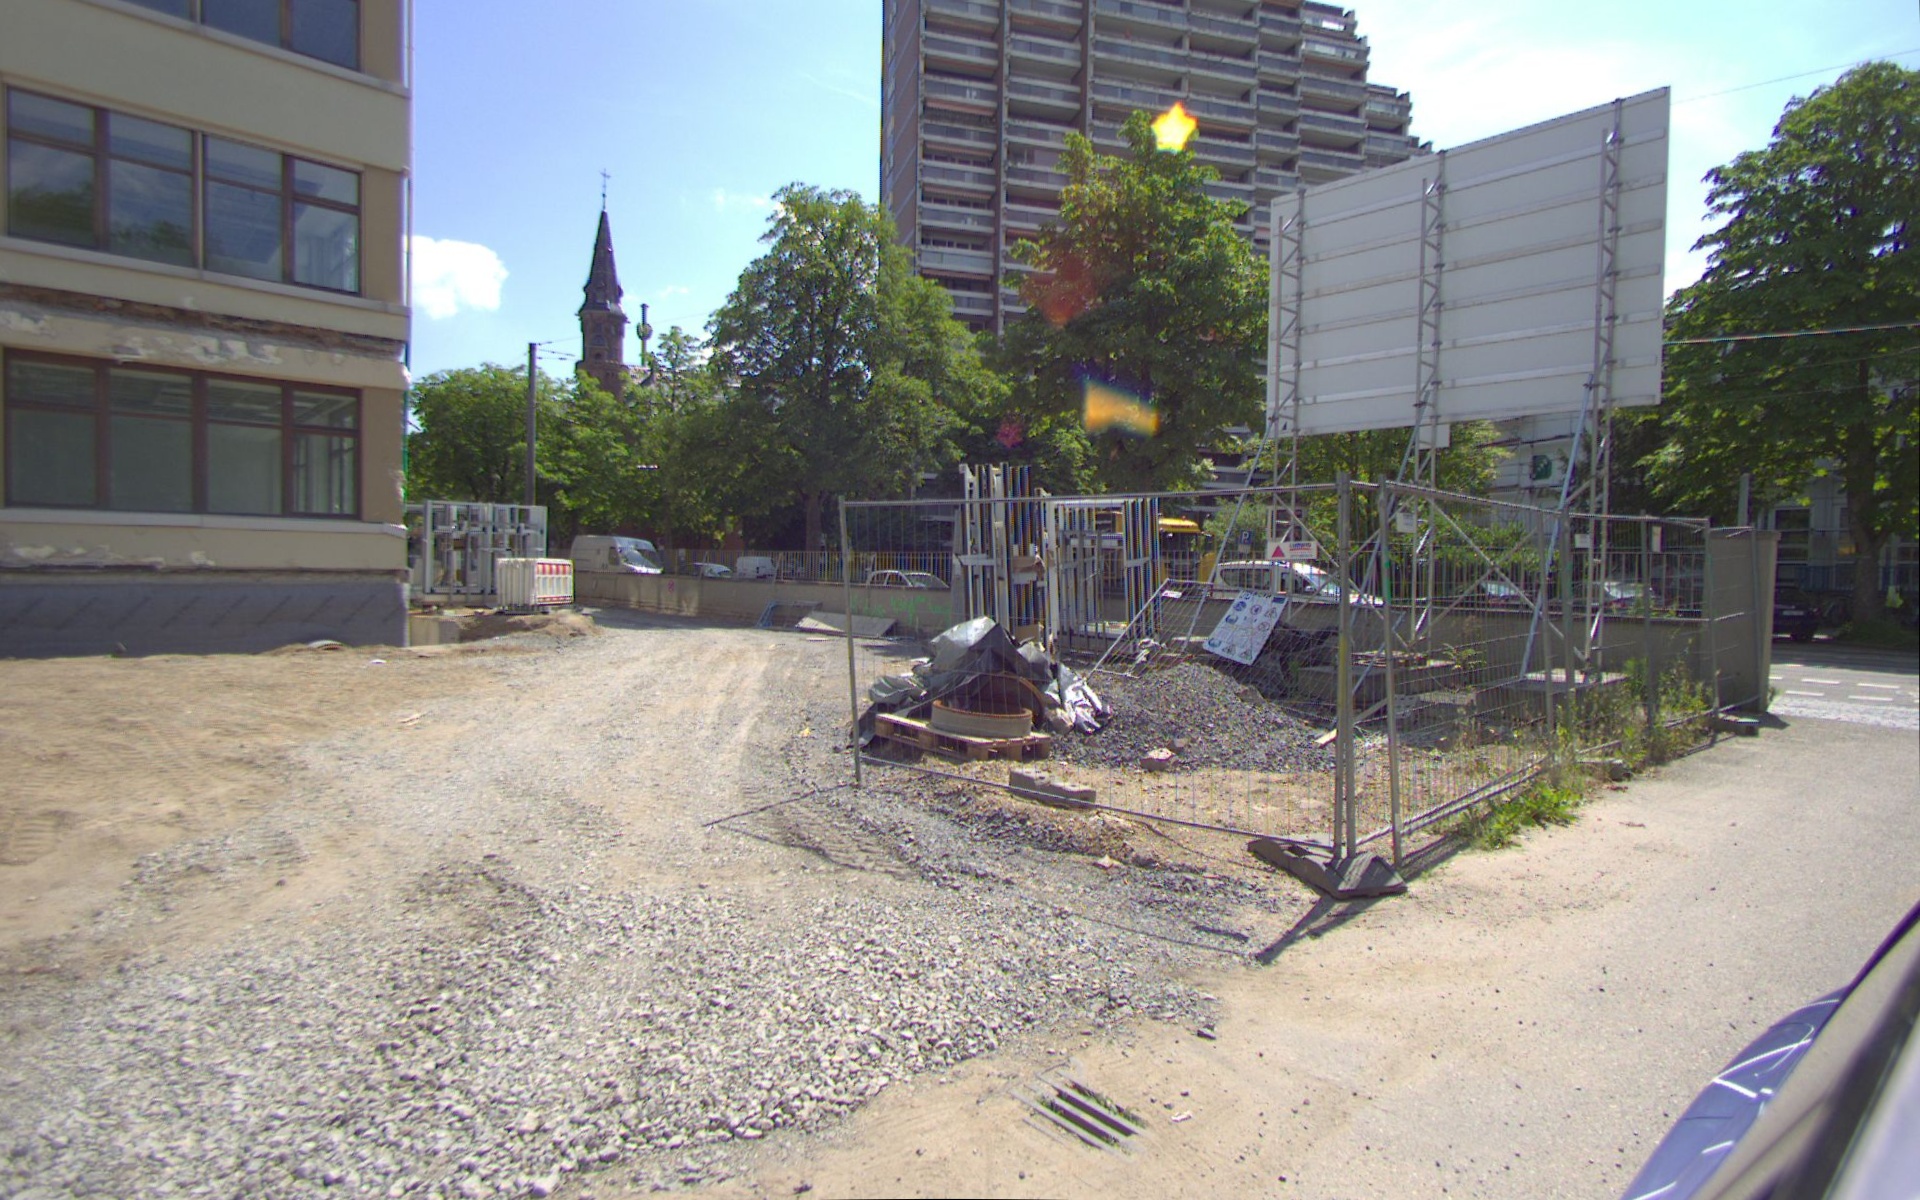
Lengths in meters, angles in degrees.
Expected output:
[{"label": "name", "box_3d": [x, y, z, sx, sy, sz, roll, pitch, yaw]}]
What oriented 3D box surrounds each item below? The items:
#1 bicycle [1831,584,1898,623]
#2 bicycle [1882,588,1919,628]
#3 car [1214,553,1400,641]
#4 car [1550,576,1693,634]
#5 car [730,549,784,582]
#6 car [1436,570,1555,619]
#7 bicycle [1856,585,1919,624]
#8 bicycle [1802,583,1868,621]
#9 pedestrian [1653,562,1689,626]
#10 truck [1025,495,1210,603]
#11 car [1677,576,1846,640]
[{"label": "bicycle", "box_3d": [27.984, 0.114, 31.308, 1.887, 1.144, 0.570, 1, 1, -14]}, {"label": "bicycle", "box_3d": [28.281, 0.235, 29.817, 1.903, 1.144, 0.570, 1, 1, -11]}, {"label": "car", "box_3d": [8.180, -0.160, 24.107, 1.494, 1.876, 3.991, -4, 5, -43]}, {"label": "car", "box_3d": [18.860, 0.082, 29.087, 1.789, 1.481, 4.016, 1, 2, 7]}, {"label": "car", "box_3d": [-13.193, -2.222, 65.947, 1.970, 2.038, 3.986, 1, 2, 13]}, {"label": "car", "box_3d": [16.609, -0.208, 31.619, 1.599, 1.390, 4.023, 1, 2, 1]}, {"label": "bicycle", "box_3d": [28.134, 0.137, 30.549, 1.887, 1.144, 0.570, 1, 1, -11]}, {"label": "bicycle", "box_3d": [27.682, 0.068, 32.031, 1.887, 1.144, 0.570, 1, 1, -14]}, {"label": "pedestrian", "box_3d": [21.339, -0.178, 30.385, 0.701, 1.898, 0.578, 1, 1, -29]}, {"label": "truck", "box_3d": [6.350, -2.095, 43.064, 2.694, 4.055, 9.764, 0, 2, -26]}, {"label": "car", "box_3d": [21.014, 0.155, 26.738, 1.619, 1.535, 3.576, 1, 1, 1]}]
